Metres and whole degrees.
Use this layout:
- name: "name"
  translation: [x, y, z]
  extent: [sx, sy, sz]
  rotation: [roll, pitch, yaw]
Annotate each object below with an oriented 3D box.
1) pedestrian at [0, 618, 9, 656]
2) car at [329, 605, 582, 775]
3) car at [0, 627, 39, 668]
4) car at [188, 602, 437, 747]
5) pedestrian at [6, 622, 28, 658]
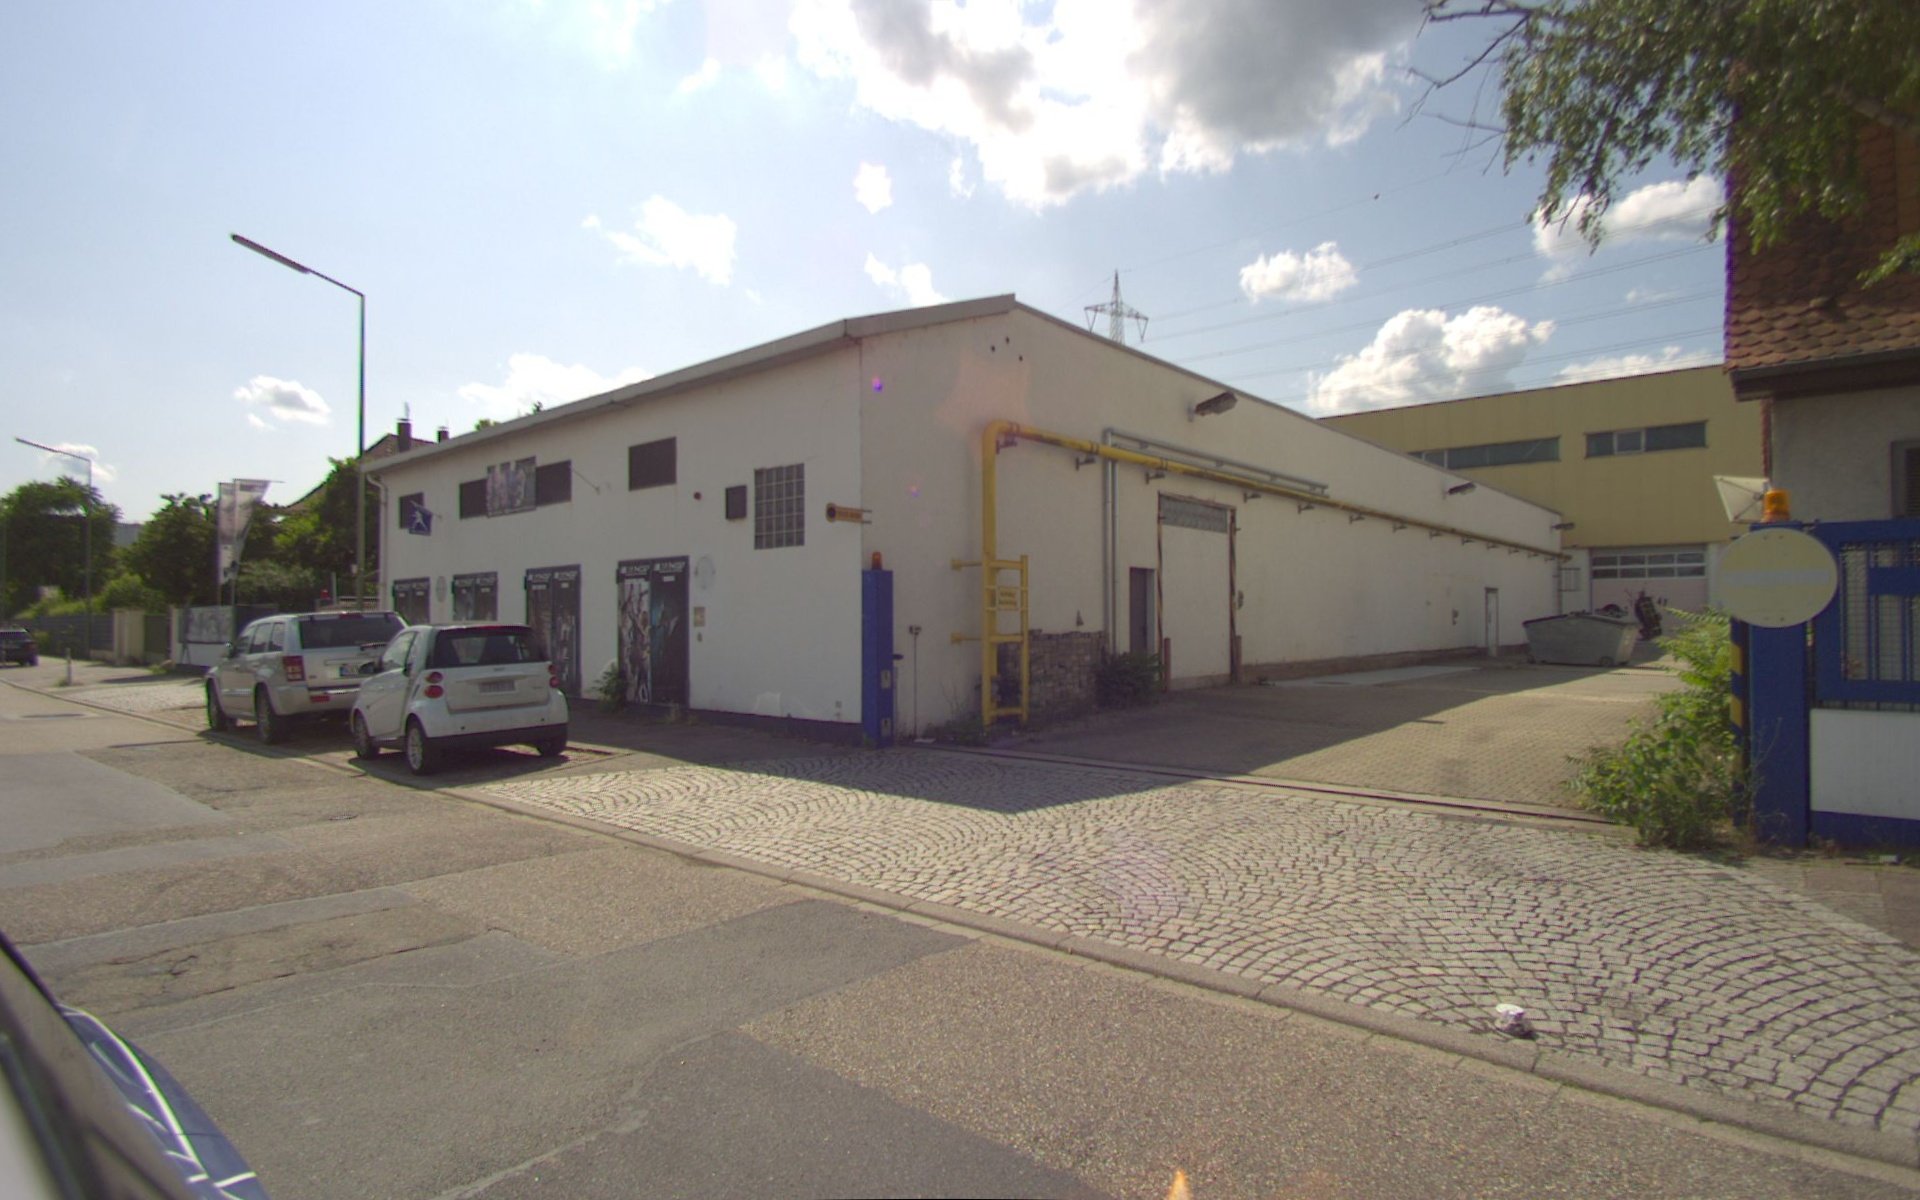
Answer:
- name: "pedestrian"
  translation: [-48.300, 1.858, 51.032]
  extent: [0.677, 1.908, 0.446]
  rotation: [-1, -1, 41]
- name: "car"
  translation: [-5.828, 0.919, 11.583]
  extent: [3.009, 1.585, 1.592]
  rotation: [-2, 2, 43]
- name: "car"
  translation: [-36.947, 1.806, 38.833]
  extent: [4.493, 1.429, 1.787]
  rotation: [-1, 1, 40]
- name: "car"
  translation: [-9.534, 0.955, 14.720]
  extent: [4.749, 1.732, 1.772]
  rotation: [-1, 1, 41]
- name: "pedestrian"
  translation: [-48.121, 2.013, 51.644]
  extent: [0.915, 1.814, 0.700]
  rotation: [-1, -1, 41]
